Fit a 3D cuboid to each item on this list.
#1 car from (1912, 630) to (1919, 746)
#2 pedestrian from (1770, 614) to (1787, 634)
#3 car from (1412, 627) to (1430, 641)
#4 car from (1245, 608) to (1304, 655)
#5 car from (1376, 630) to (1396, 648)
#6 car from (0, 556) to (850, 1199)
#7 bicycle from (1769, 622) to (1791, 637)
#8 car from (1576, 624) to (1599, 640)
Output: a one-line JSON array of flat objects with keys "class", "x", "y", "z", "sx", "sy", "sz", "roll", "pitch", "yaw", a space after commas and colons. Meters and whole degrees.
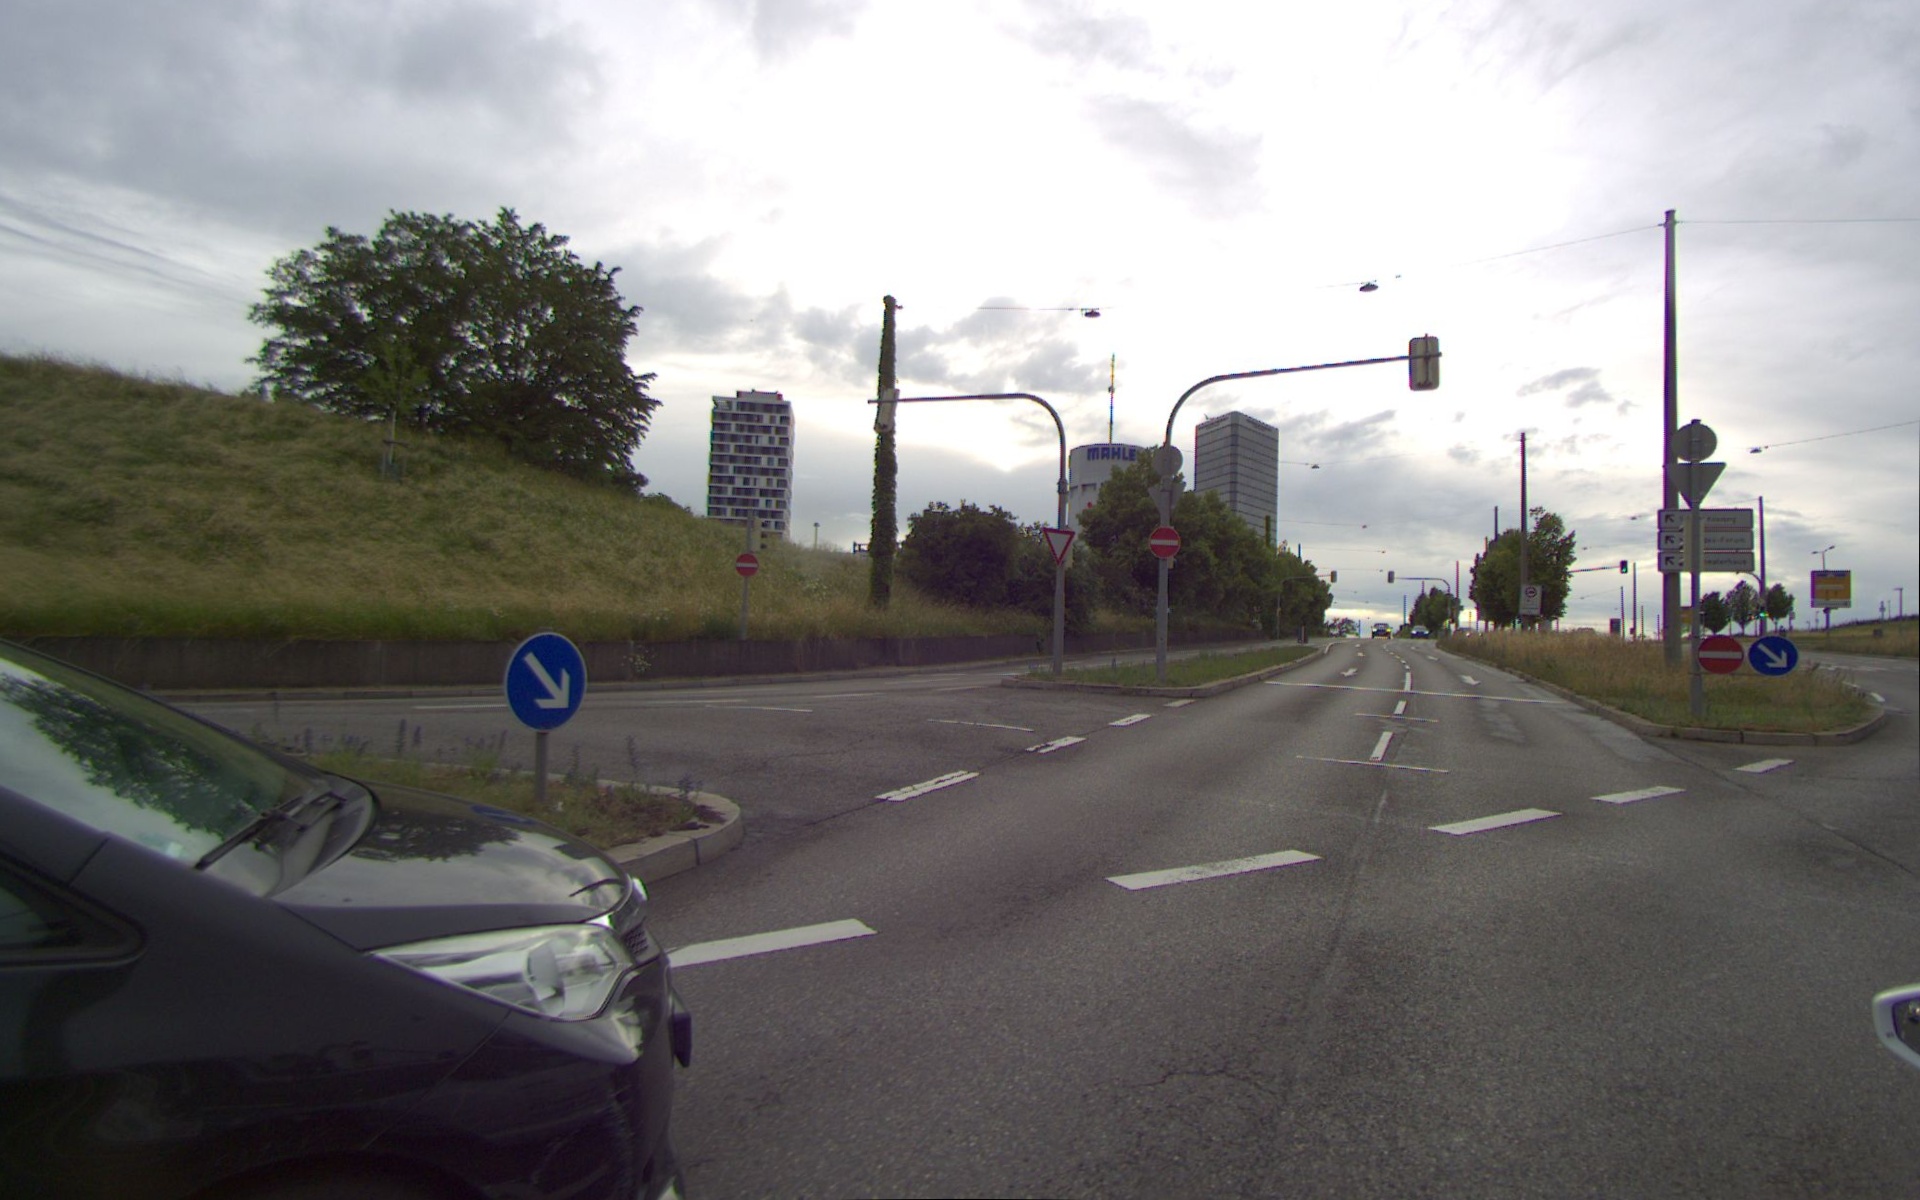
[{"class": "car", "x": 14.386, "y": 1.190, "z": 13.642, "sx": 3.947, "sy": 1.481, "sz": 1.852, "roll": 2, "pitch": -2, "yaw": -42}, {"class": "pedestrian", "x": 66.011, "y": 1.942, "z": 80.972, "sx": 0.622, "sy": 1.590, "sz": 0.896, "roll": -6, "pitch": -4, "yaw": 18}, {"class": "car", "x": 52.686, "y": 3.835, "z": 114.906, "sx": 1.781, "sy": 1.489, "sz": 3.611, "roll": 2, "pitch": -1, "yaw": 24}, {"class": "car", "x": 14.438, "y": 1.473, "z": 45.961, "sx": 1.963, "sy": 2.040, "sz": 3.996, "roll": -1, "pitch": -2, "yaw": 26}, {"class": "car", "x": 43.674, "y": 3.992, "z": 103.106, "sx": 1.831, "sy": 1.641, "sz": 3.998, "roll": 1, "pitch": -1, "yaw": 23}, {"class": "car", "x": -2.393, "y": 0.693, "z": 1.681, "sx": 3.994, "sy": 1.586, "sz": 1.788, "roll": 2, "pitch": 1, "yaw": -29}, {"class": "bicycle", "x": 66.036, "y": 2.383, "z": 80.935, "sx": 0.622, "sy": 1.119, "sz": 1.754, "roll": -7, "pitch": -3, "yaw": 17}, {"class": "car", "x": 64.513, "y": 3.302, "z": 103.365, "sx": 1.696, "sy": 1.562, "sz": 3.699, "roll": 3, "pitch": -1, "yaw": 28}]
